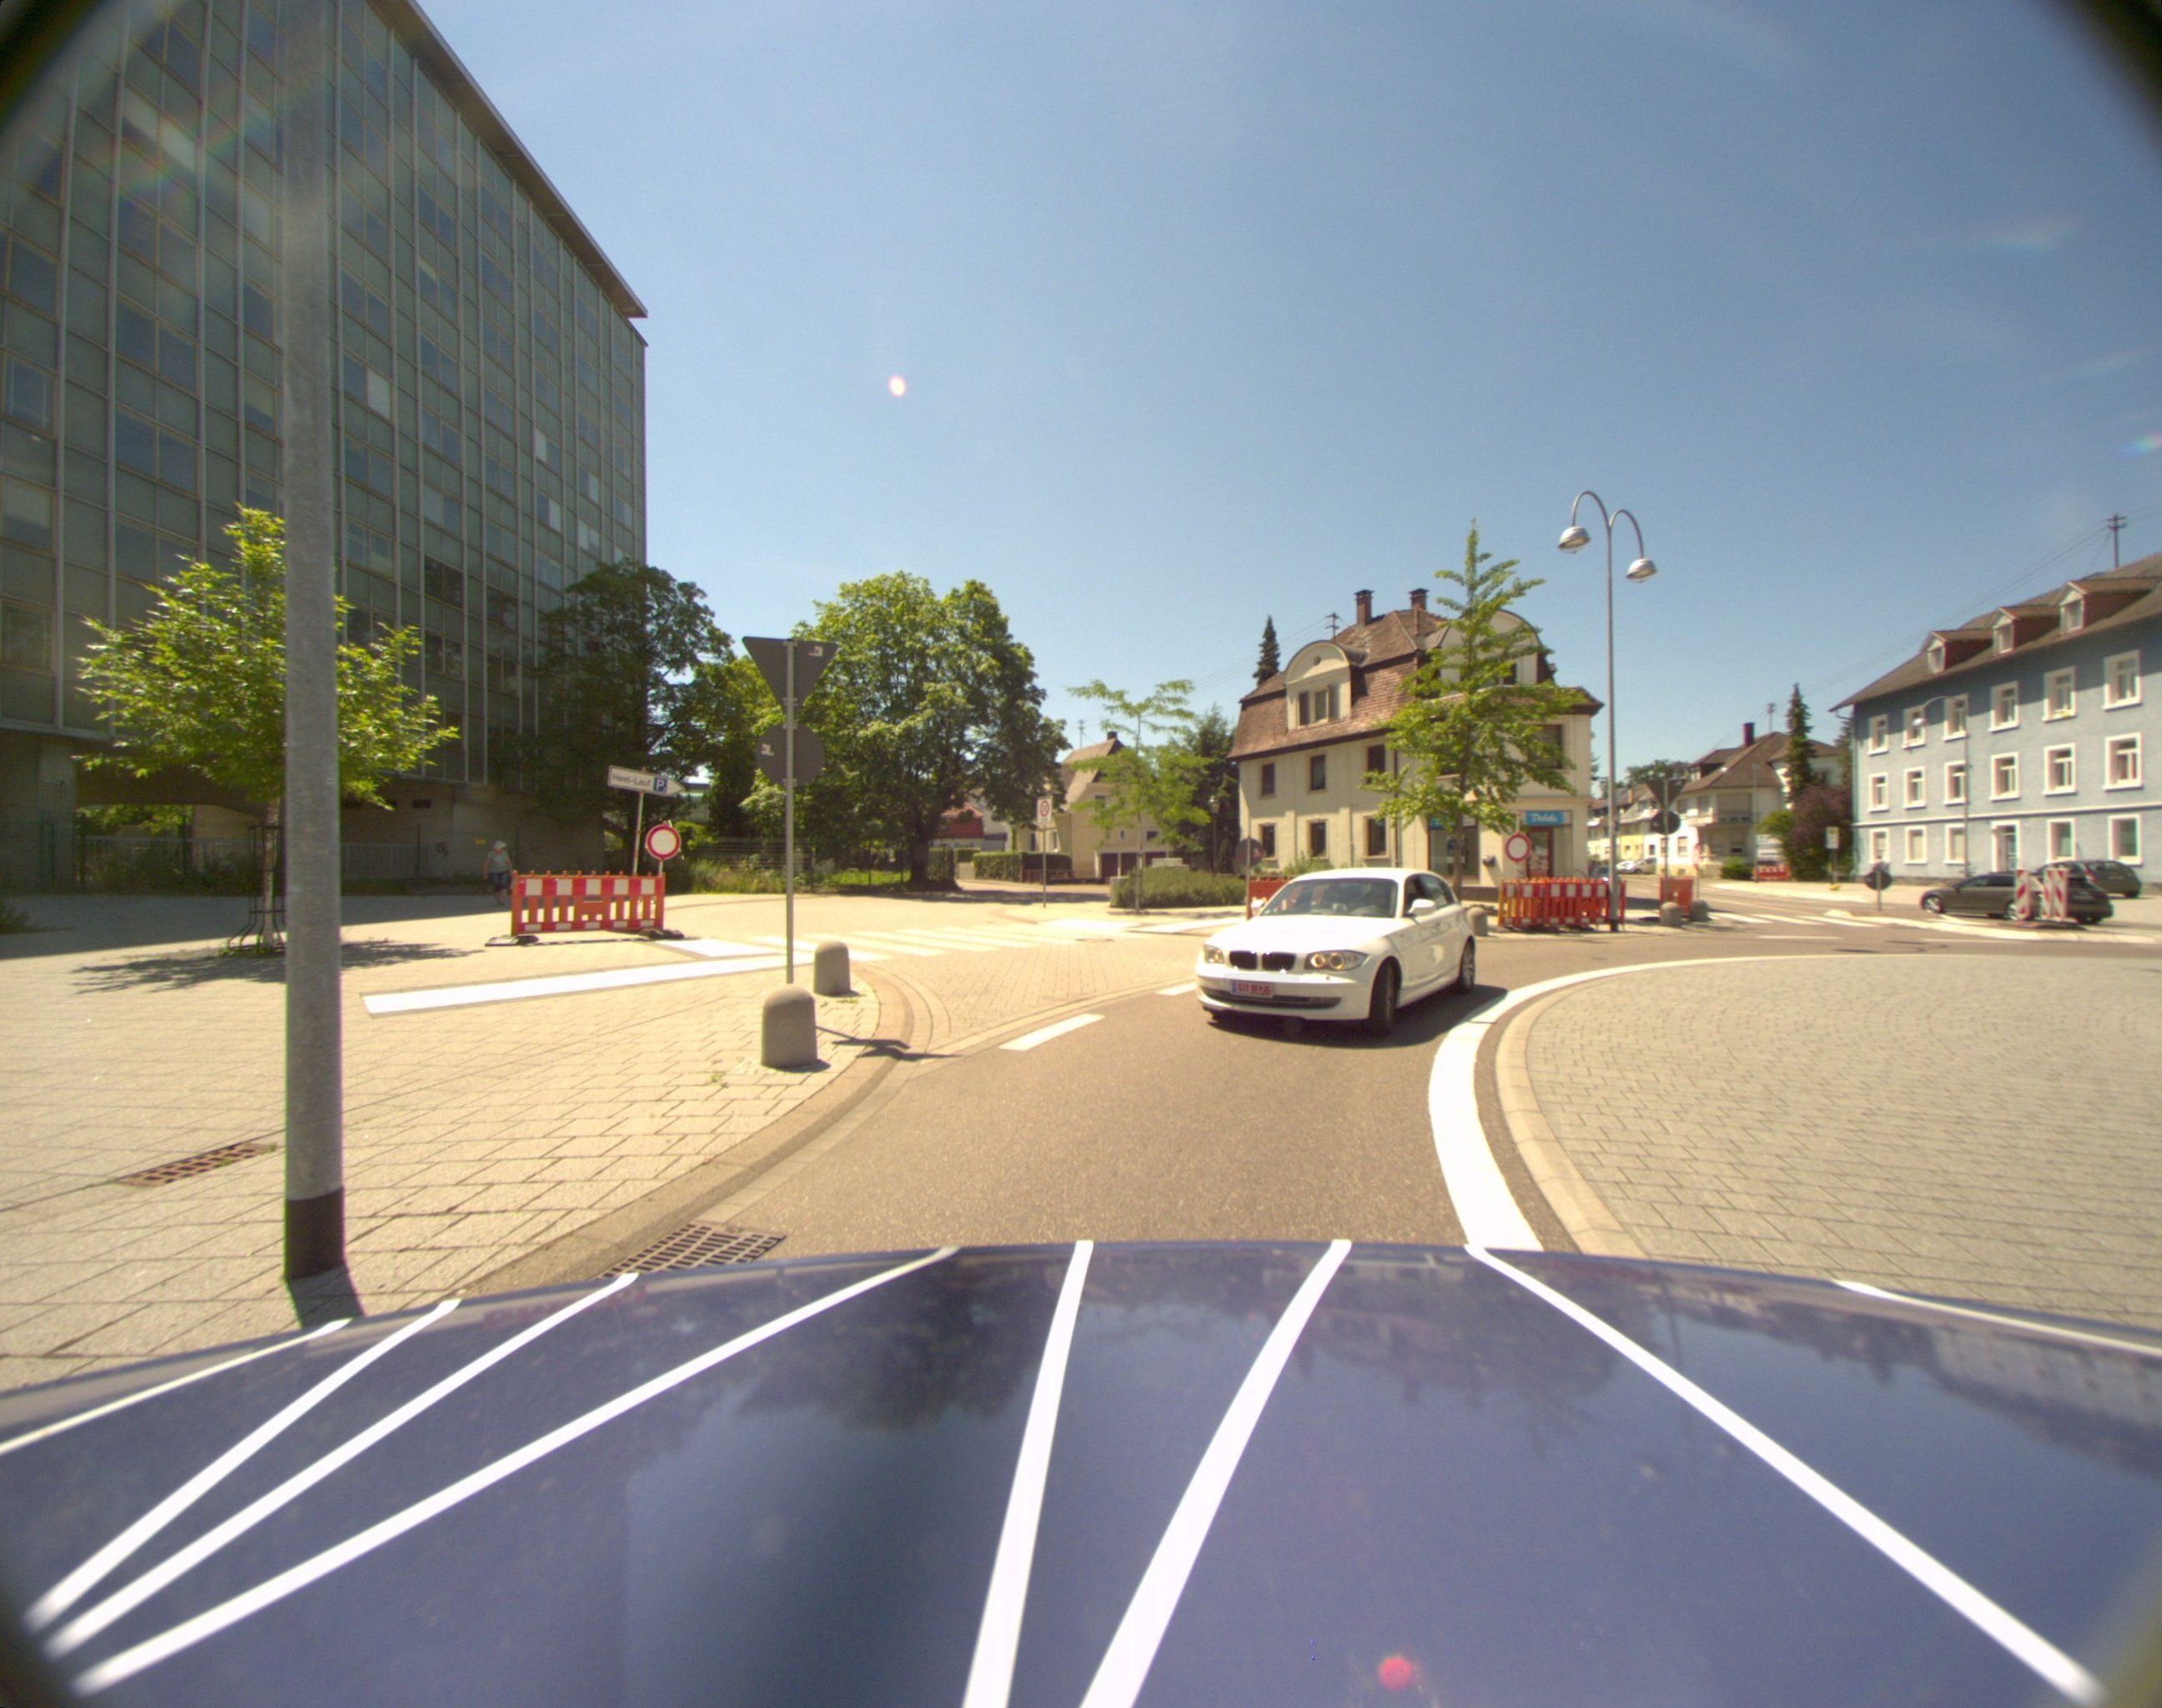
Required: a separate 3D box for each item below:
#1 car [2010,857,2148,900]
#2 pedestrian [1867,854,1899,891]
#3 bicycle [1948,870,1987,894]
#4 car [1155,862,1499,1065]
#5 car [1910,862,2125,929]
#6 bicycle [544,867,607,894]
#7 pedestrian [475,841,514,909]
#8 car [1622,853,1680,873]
[{"bbox_3d":[40.237,0.936,30.770,1.579,1.525,3.780,-1,1,20],"label":"car"},{"bbox_3d":[41.517,0.947,39.333,0.756,1.837,0.773,-4,-1,18],"label":"pedestrian"},{"bbox_3d":[40.944,1.286,35.111,0.496,0.971,1.976,-5,-1,30],"label":"bicycle"},{"bbox_3d":[2.763,0.922,7.911,1.783,1.541,4.138,-4,-4,43],"label":"car"},{"bbox_3d":[27.678,1.155,22.719,1.778,1.767,4.248,1,-1,12],"label":"car"},{"bbox_3d":[-17.586,0.922,26.465,1.756,0.902,0.447,0,0,-22],"label":"bicycle"},{"bbox_3d":[-15.141,0.539,19.617,0.486,1.698,0.566,2,1,5],"label":"pedestrian"},{"bbox_3d":[58.543,0.913,78.045,4.357,1.866,1.852,1,0,13],"label":"car"}]
